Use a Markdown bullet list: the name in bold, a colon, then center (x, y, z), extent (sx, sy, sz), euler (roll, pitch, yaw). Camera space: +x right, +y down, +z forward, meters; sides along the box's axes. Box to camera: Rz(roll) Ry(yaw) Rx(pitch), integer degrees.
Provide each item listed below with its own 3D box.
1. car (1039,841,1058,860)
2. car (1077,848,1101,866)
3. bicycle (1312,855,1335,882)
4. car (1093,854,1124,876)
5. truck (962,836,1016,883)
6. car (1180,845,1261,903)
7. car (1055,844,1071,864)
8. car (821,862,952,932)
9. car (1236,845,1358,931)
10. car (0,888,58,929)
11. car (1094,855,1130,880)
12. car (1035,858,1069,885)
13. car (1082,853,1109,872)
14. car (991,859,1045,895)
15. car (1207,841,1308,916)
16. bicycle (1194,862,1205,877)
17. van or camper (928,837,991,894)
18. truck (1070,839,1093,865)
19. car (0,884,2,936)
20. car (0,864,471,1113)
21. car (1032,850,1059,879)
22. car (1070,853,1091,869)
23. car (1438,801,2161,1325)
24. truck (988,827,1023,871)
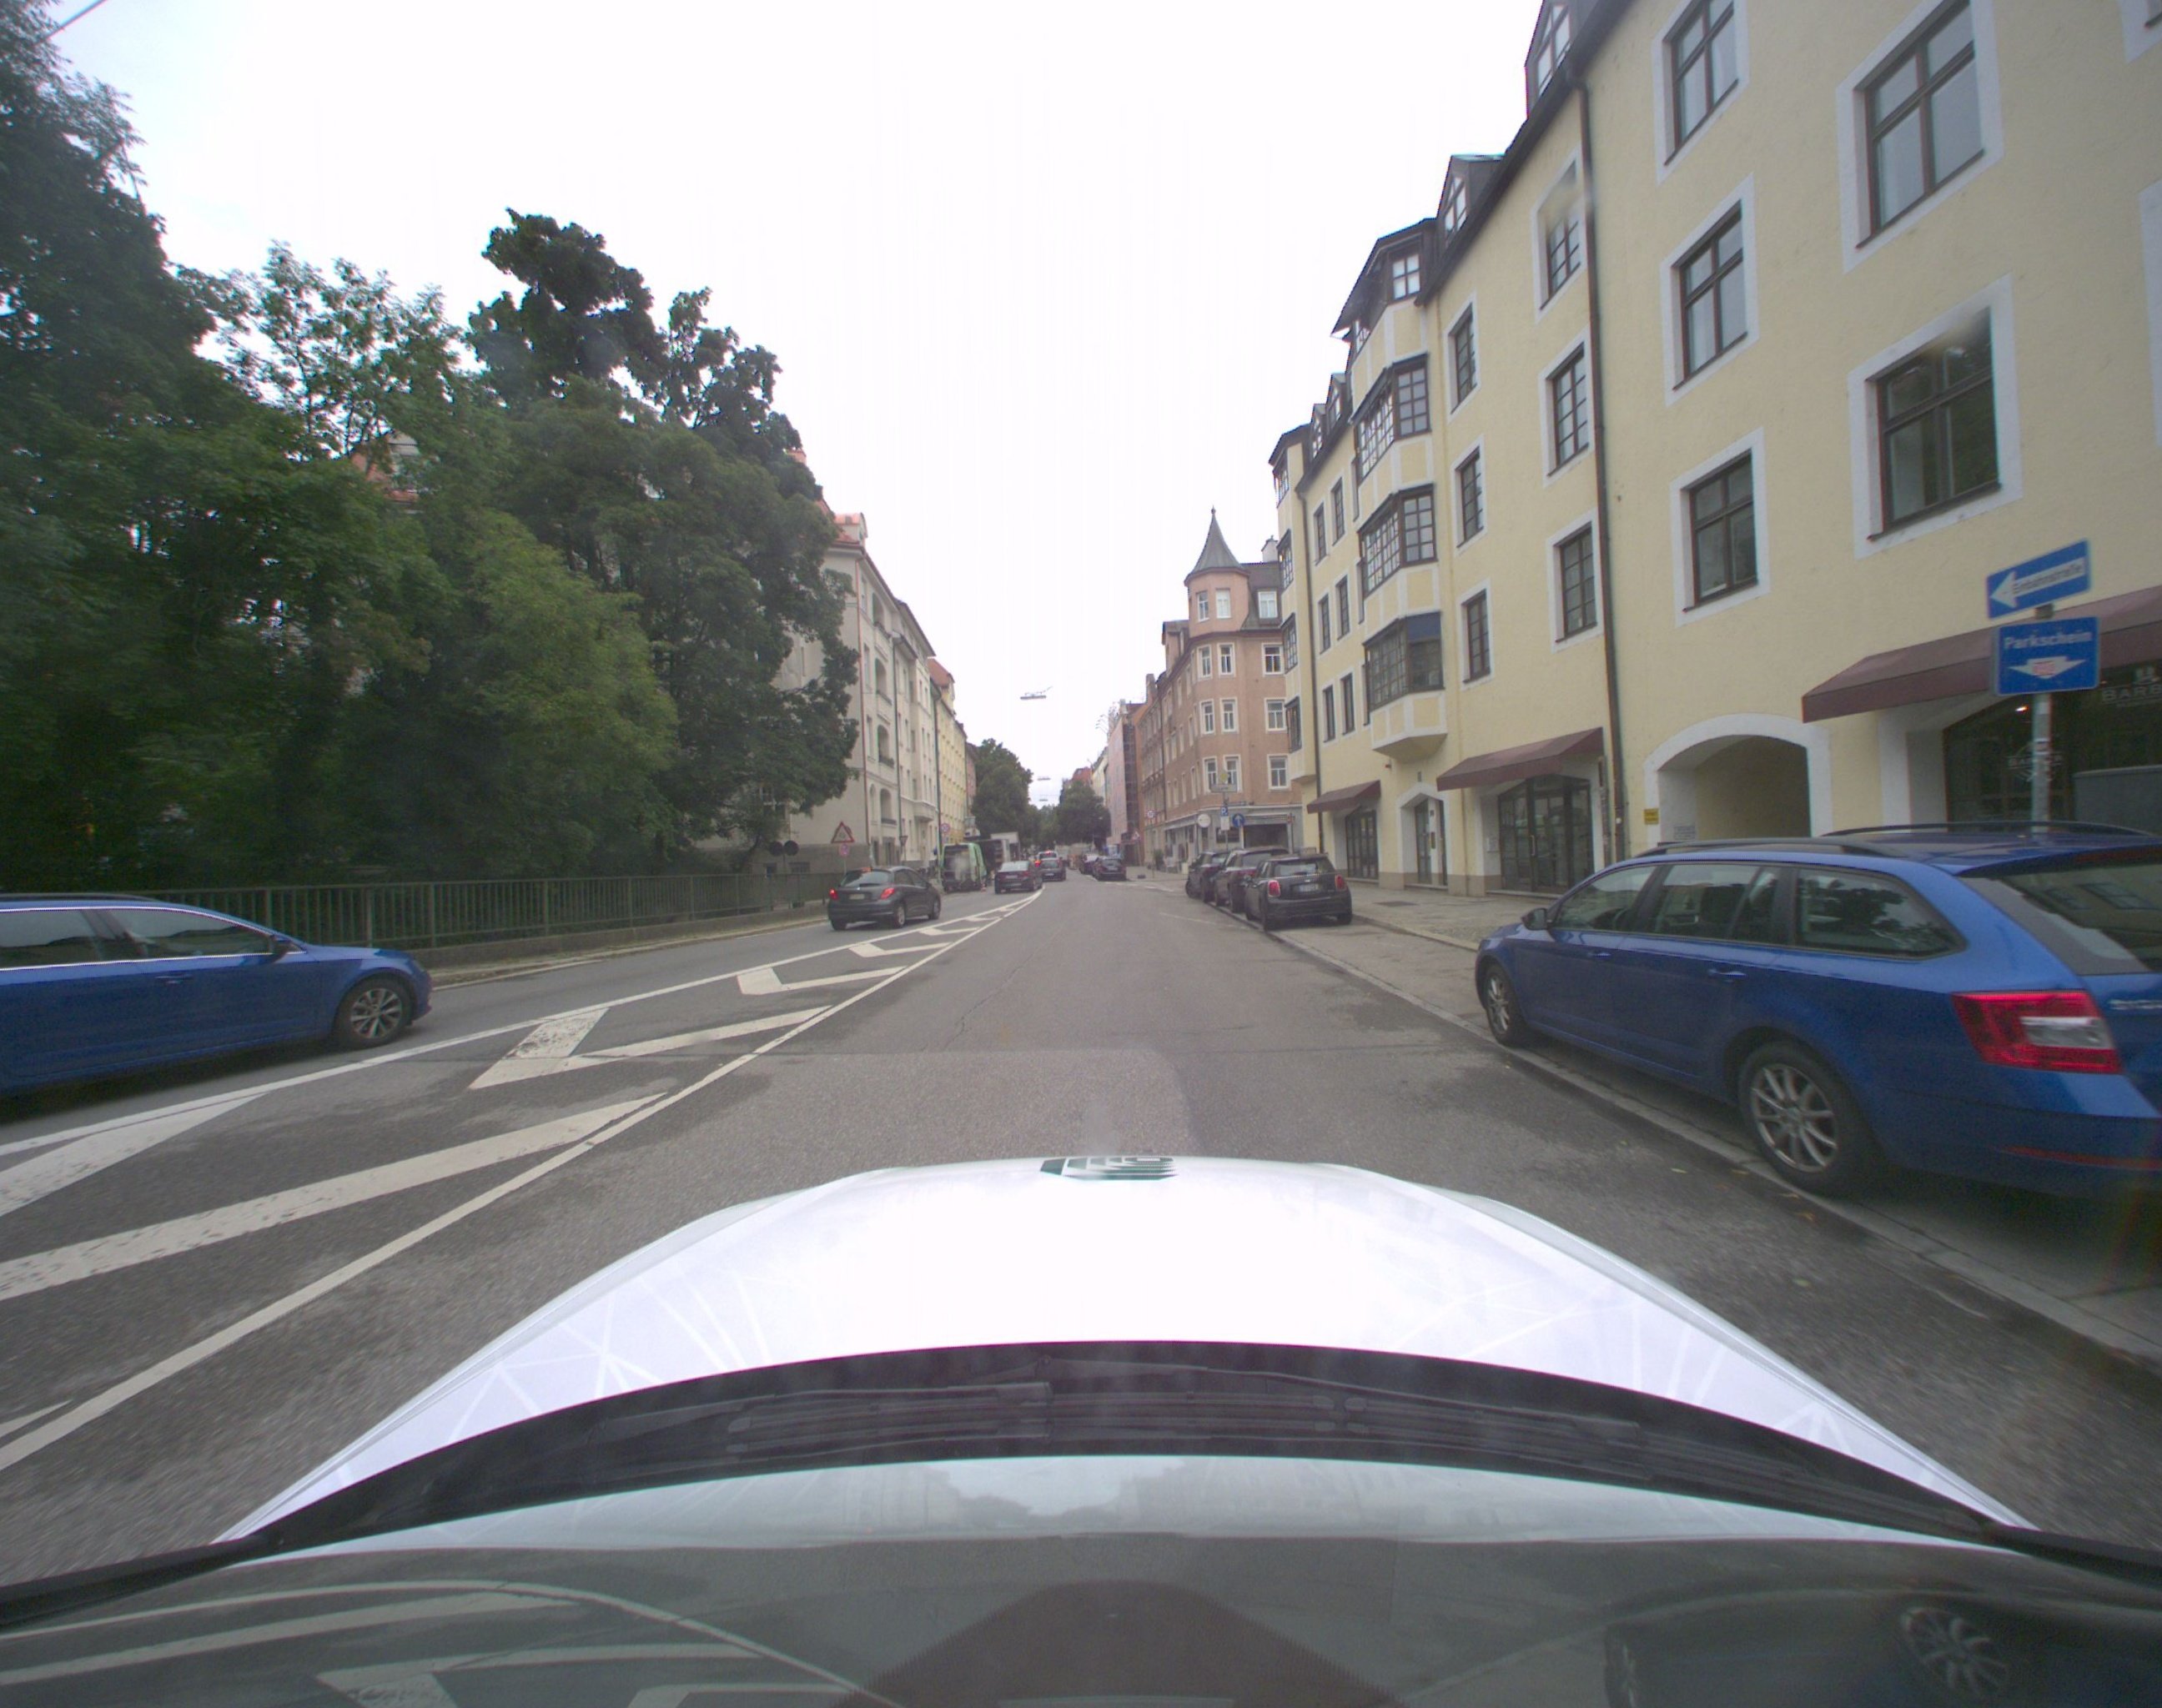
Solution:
- **car**: center (-3.677, -0.435, 92.333), extent (1.989, 2.013, 3.996), euler (-3, 0, -3)
- **car**: center (0.677, 0.229, 73.157), extent (1.985, 1.429, 4.138), euler (-3, 1, -1)
- **bicycle**: center (8.863, 0.513, 29.833), extent (0.270, 0.977, 1.683), euler (-1, 0, -1)
- **car**: center (1.874, 0.715, 56.670), extent (1.840, 1.429, 4.135), euler (0, 1, -3)
- **truck**: center (-6.204, 0.273, 55.802), extent (2.764, 2.873, 7.200), euler (-3, 1, 0)
- **car**: center (4.602, 0.630, 27.503), extent (1.813, 1.679, 4.509), euler (-4, 0, -1)
- **car**: center (-2.314, 0.018, 104.500), extent (1.934, 2.480, 4.781), euler (-2, 0, 0)
- **car**: center (-4.770, 1.016, 20.630), extent (1.748, 1.461, 4.084), euler (-3, 0, 9)
- **car**: center (4.395, 0.622, 17.147), extent (1.748, 1.496, 3.828), euler (-4, 0, 5)
- **car**: center (-40.581, 2.090, 29.738), extent (1.897, 1.446, 4.272), euler (-3, 0, -18)
- **car**: center (1.849, 0.823, 50.427), extent (1.840, 1.429, 4.179), euler (0, 1, -3)
- **car**: center (-1.787, 1.070, 51.413), extent (1.985, 1.429, 4.138), euler (-3, 1, -1)
- **car**: center (1.160, 0.673, 65.023), extent (1.840, 1.429, 4.301), euler (0, 1, -3)
- **car**: center (-2.922, 1.032, 38.925), extent (1.983, 1.429, 4.908), euler (-3, 1, 2)
- **car**: center (4.590, 0.583, 21.878), extent (1.750, 1.679, 4.708), euler (-4, 0, 2)
- **bicycle**: center (6.697, 0.880, 46.043), extent (0.455, 0.805, 1.326), euler (-2, 0, 0)
- **van or camper**: center (-6.630, 0.544, 45.297), extent (2.593, 2.840, 6.182), euler (-3, 1, -1)
- **truck**: center (0.012, -0.263, 98.822), extent (2.486, 2.973, 5.322), euler (-2, 0, -3)
- **car**: center (-34.194, 1.443, 22.524), extent (2.301, 2.269, 5.110), euler (-3, 0, -10)
- **car**: center (-7.415, 0.884, 5.849), extent (1.975, 1.454, 4.746), euler (-3, 0, 9)
- **car**: center (-2.834, 0.787, 65.067), extent (1.985, 2.075, 4.138), euler (-3, 1, -1)
- **car**: center (-0.031, 0.654, 82.782), extent (1.985, 1.429, 4.138), euler (-3, 1, -1)
- **car**: center (3.858, 0.577, 4.628), extent (1.750, 1.496, 4.489), euler (-4, 0, 2)
- **truck**: center (-7.226, -0.486, 78.842), extent (3.006, 3.951, 6.986), euler (-2, 0, -3)
